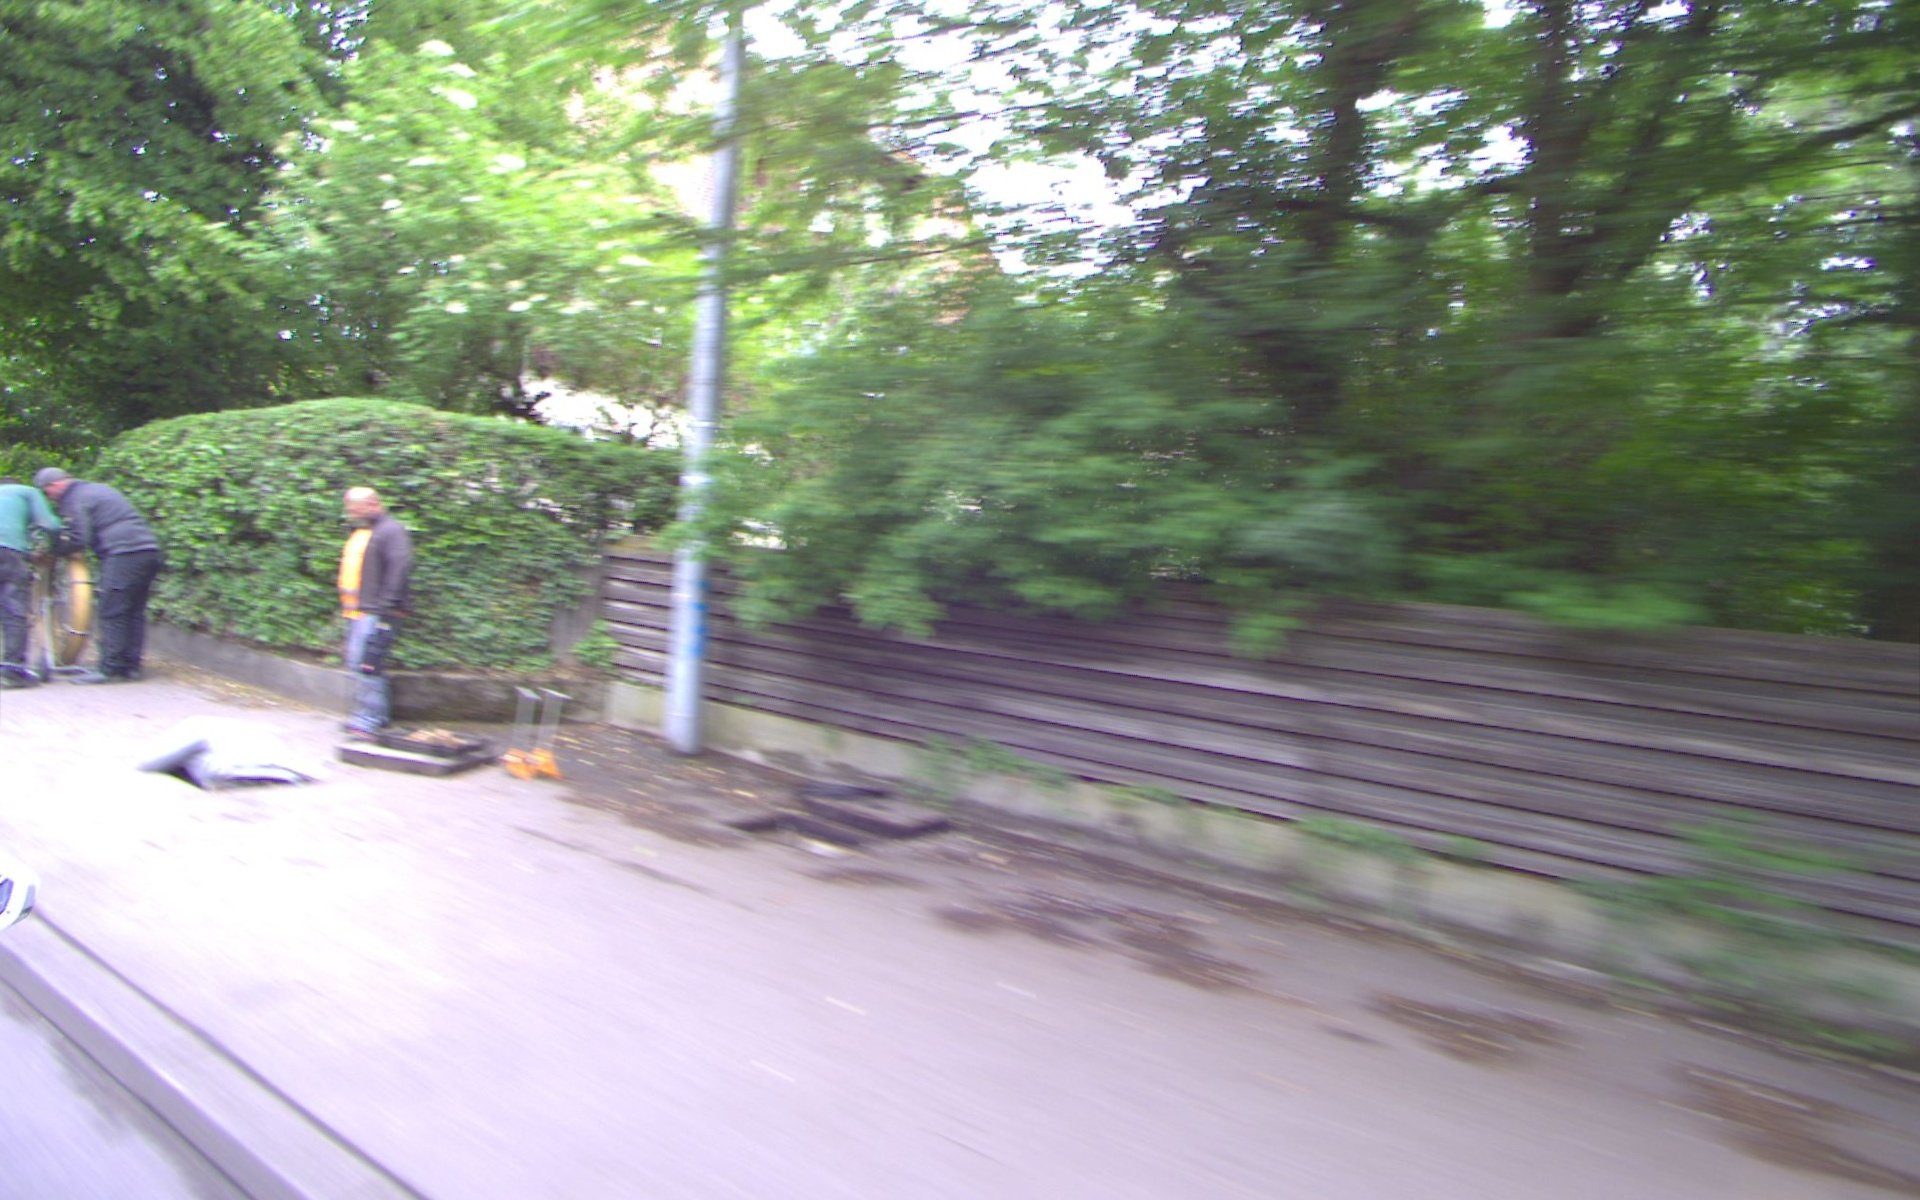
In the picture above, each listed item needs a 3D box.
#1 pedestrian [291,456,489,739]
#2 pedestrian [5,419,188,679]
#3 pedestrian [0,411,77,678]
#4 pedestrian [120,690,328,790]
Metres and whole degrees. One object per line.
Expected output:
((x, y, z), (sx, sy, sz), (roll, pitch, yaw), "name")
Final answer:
((-3.980, -0.012, 7.048), (0.728, 1.829, 0.808), (7, 1, 31), "pedestrian")
((-6.592, -0.368, 7.718), (0.662, 1.829, 0.690), (6, 1, -9), "pedestrian")
((-6.861, -0.405, 7.138), (0.593, 1.829, 0.517), (6, 1, -18), "pedestrian")
((-4.039, 0.748, 5.533), (0.728, 0.398, 0.673), (6, 0, 31), "pedestrian")
